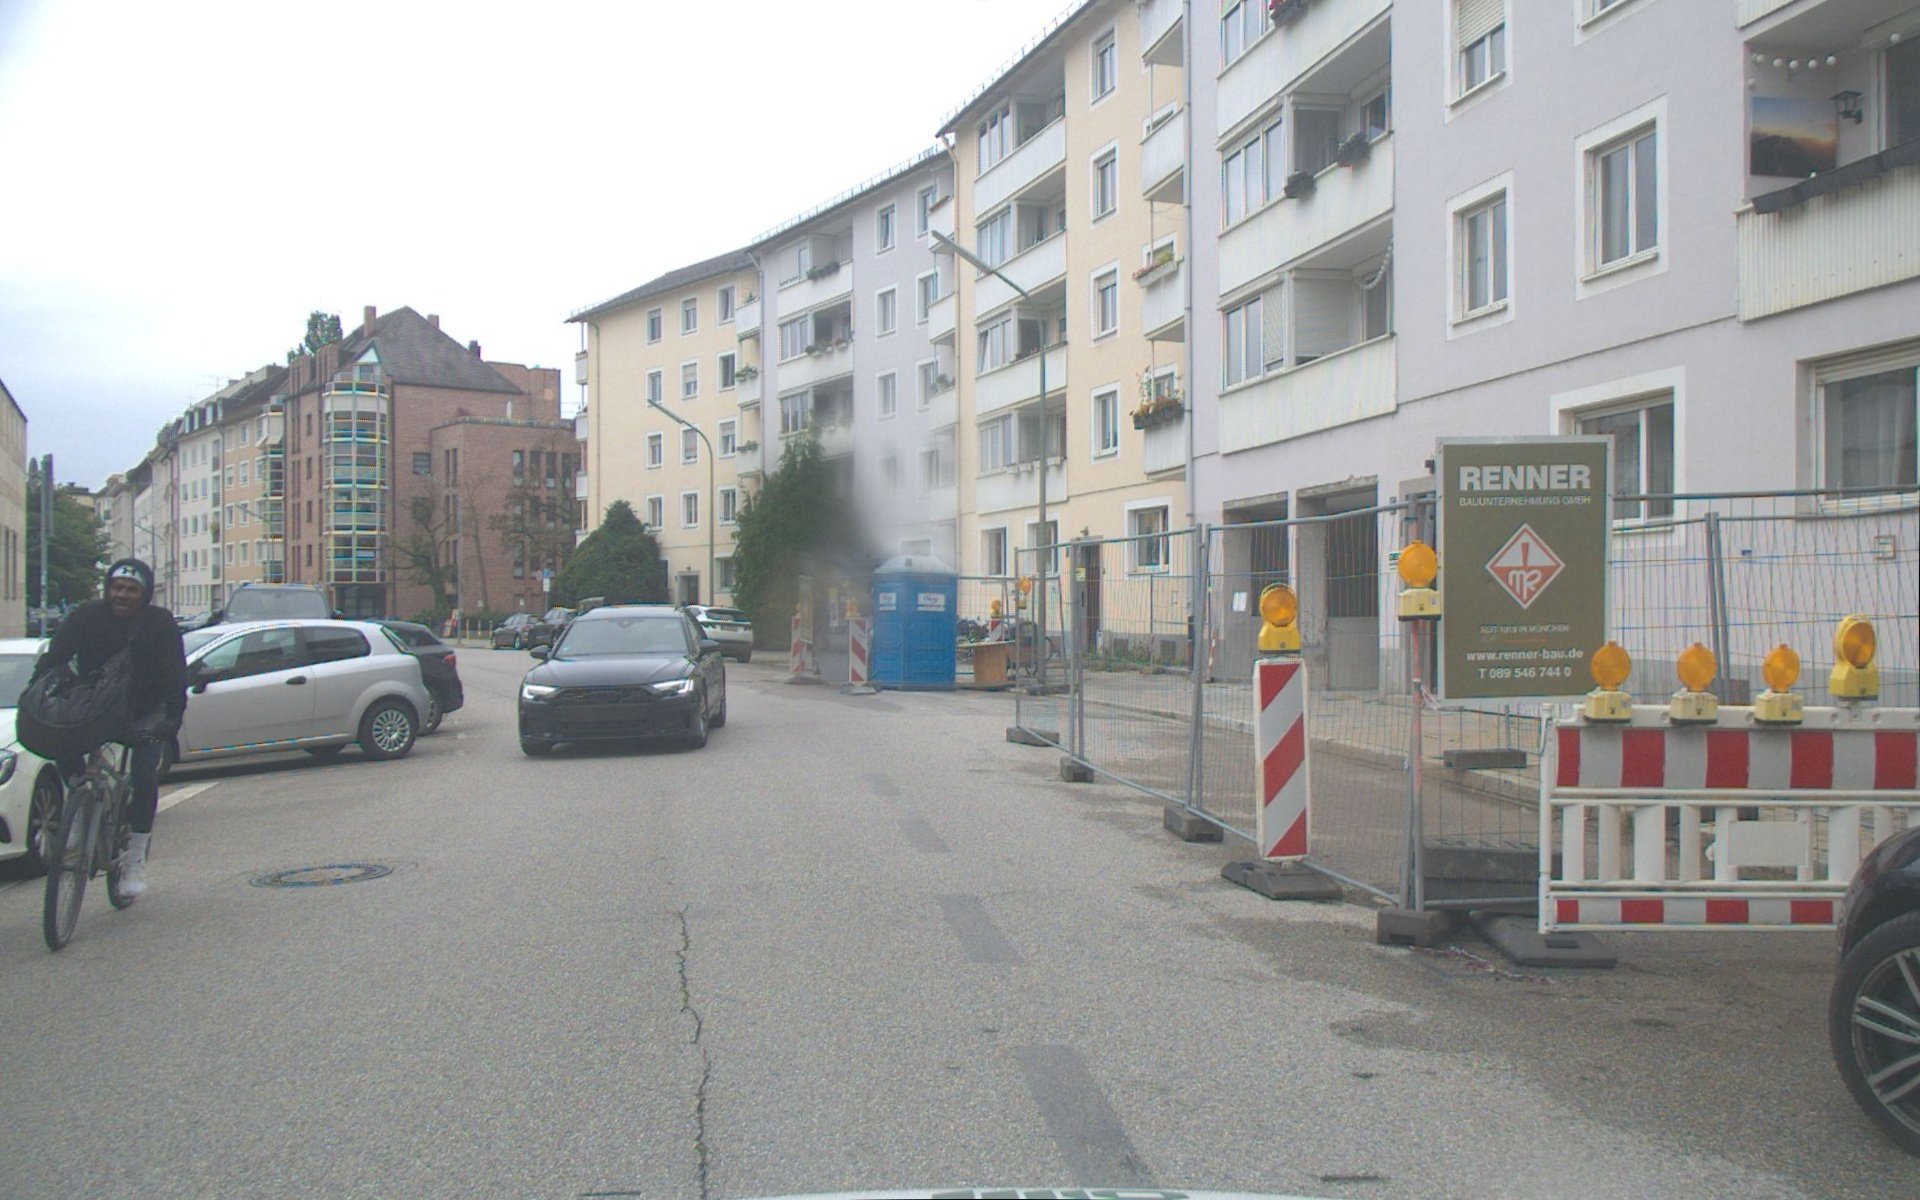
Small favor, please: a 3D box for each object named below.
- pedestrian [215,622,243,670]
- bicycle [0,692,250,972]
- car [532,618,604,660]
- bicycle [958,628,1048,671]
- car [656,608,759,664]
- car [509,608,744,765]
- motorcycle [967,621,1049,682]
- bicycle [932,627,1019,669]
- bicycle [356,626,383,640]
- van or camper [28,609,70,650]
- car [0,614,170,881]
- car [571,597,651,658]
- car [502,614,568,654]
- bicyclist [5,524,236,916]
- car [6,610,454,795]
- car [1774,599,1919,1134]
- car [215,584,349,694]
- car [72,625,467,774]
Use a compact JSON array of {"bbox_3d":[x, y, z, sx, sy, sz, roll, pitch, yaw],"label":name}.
[{"bbox_3d":[-25.255,1.582,57.127,0.749,1.658,0.917,0,-1,-15],"label":"pedestrian"},{"bbox_3d":[-4.104,1.072,8.243,0.575,1.088,1.932,-2,0,-10],"label":"bicycle"},{"bbox_3d":[-14.863,1.446,62.561,1.761,1.537,3.685,1,-1,-28],"label":"car"},{"bbox_3d":[1.139,1.290,43.450,2.200,1.088,0.914,0,-1,-21],"label":"bicycle"},{"bbox_3d":[-7.613,1.057,49.562,1.810,1.601,3.961,1,-1,-29],"label":"car"},{"bbox_3d":[-3.548,0.862,18.437,1.882,1.436,4.700,-3,0,-4],"label":"car"},{"bbox_3d":[1.008,1.070,35.420,0.918,1.242,2.492,0,-1,-20],"label":"motorcycle"},{"bbox_3d":[0.414,1.288,44.799,2.200,1.088,0.914,0,-1,-21],"label":"bicycle"},{"bbox_3d":[-37.422,2.095,104.801,1.093,0.869,1.704,1,-1,-38],"label":"bicycle"},{"bbox_3d":[-58.653,1.890,106.407,2.077,2.596,4.718,1,-1,-32],"label":"van or camper"},{"bbox_3d":[-6.756,0.888,10.977,1.961,1.476,4.197,-2,0,-16],"label":"car"},{"bbox_3d":[-12.229,0.956,57.827,1.761,2.011,3.685,-2,0,-28],"label":"car"},{"bbox_3d":[-17.095,1.366,66.399,1.761,1.537,3.685,0,-1,-28],"label":"car"},{"bbox_3d":[-4.124,0.559,8.188,0.731,1.802,0.813,-3,0,-10],"label":"bicyclist"},{"bbox_3d":[-7.305,0.952,16.793,1.685,1.534,3.784,-3,0,43],"label":"car"},{"bbox_3d":[3.653,0.767,3.024,1.869,1.503,4.946,1,0,0],"label":"car"},{"bbox_3d":[-12.071,0.680,29.370,2.025,1.766,4.849,0,-1,-24],"label":"car"},{"bbox_3d":[-8.165,1.116,19.795,1.782,1.446,3.974,-3,0,42],"label":"car"}]
